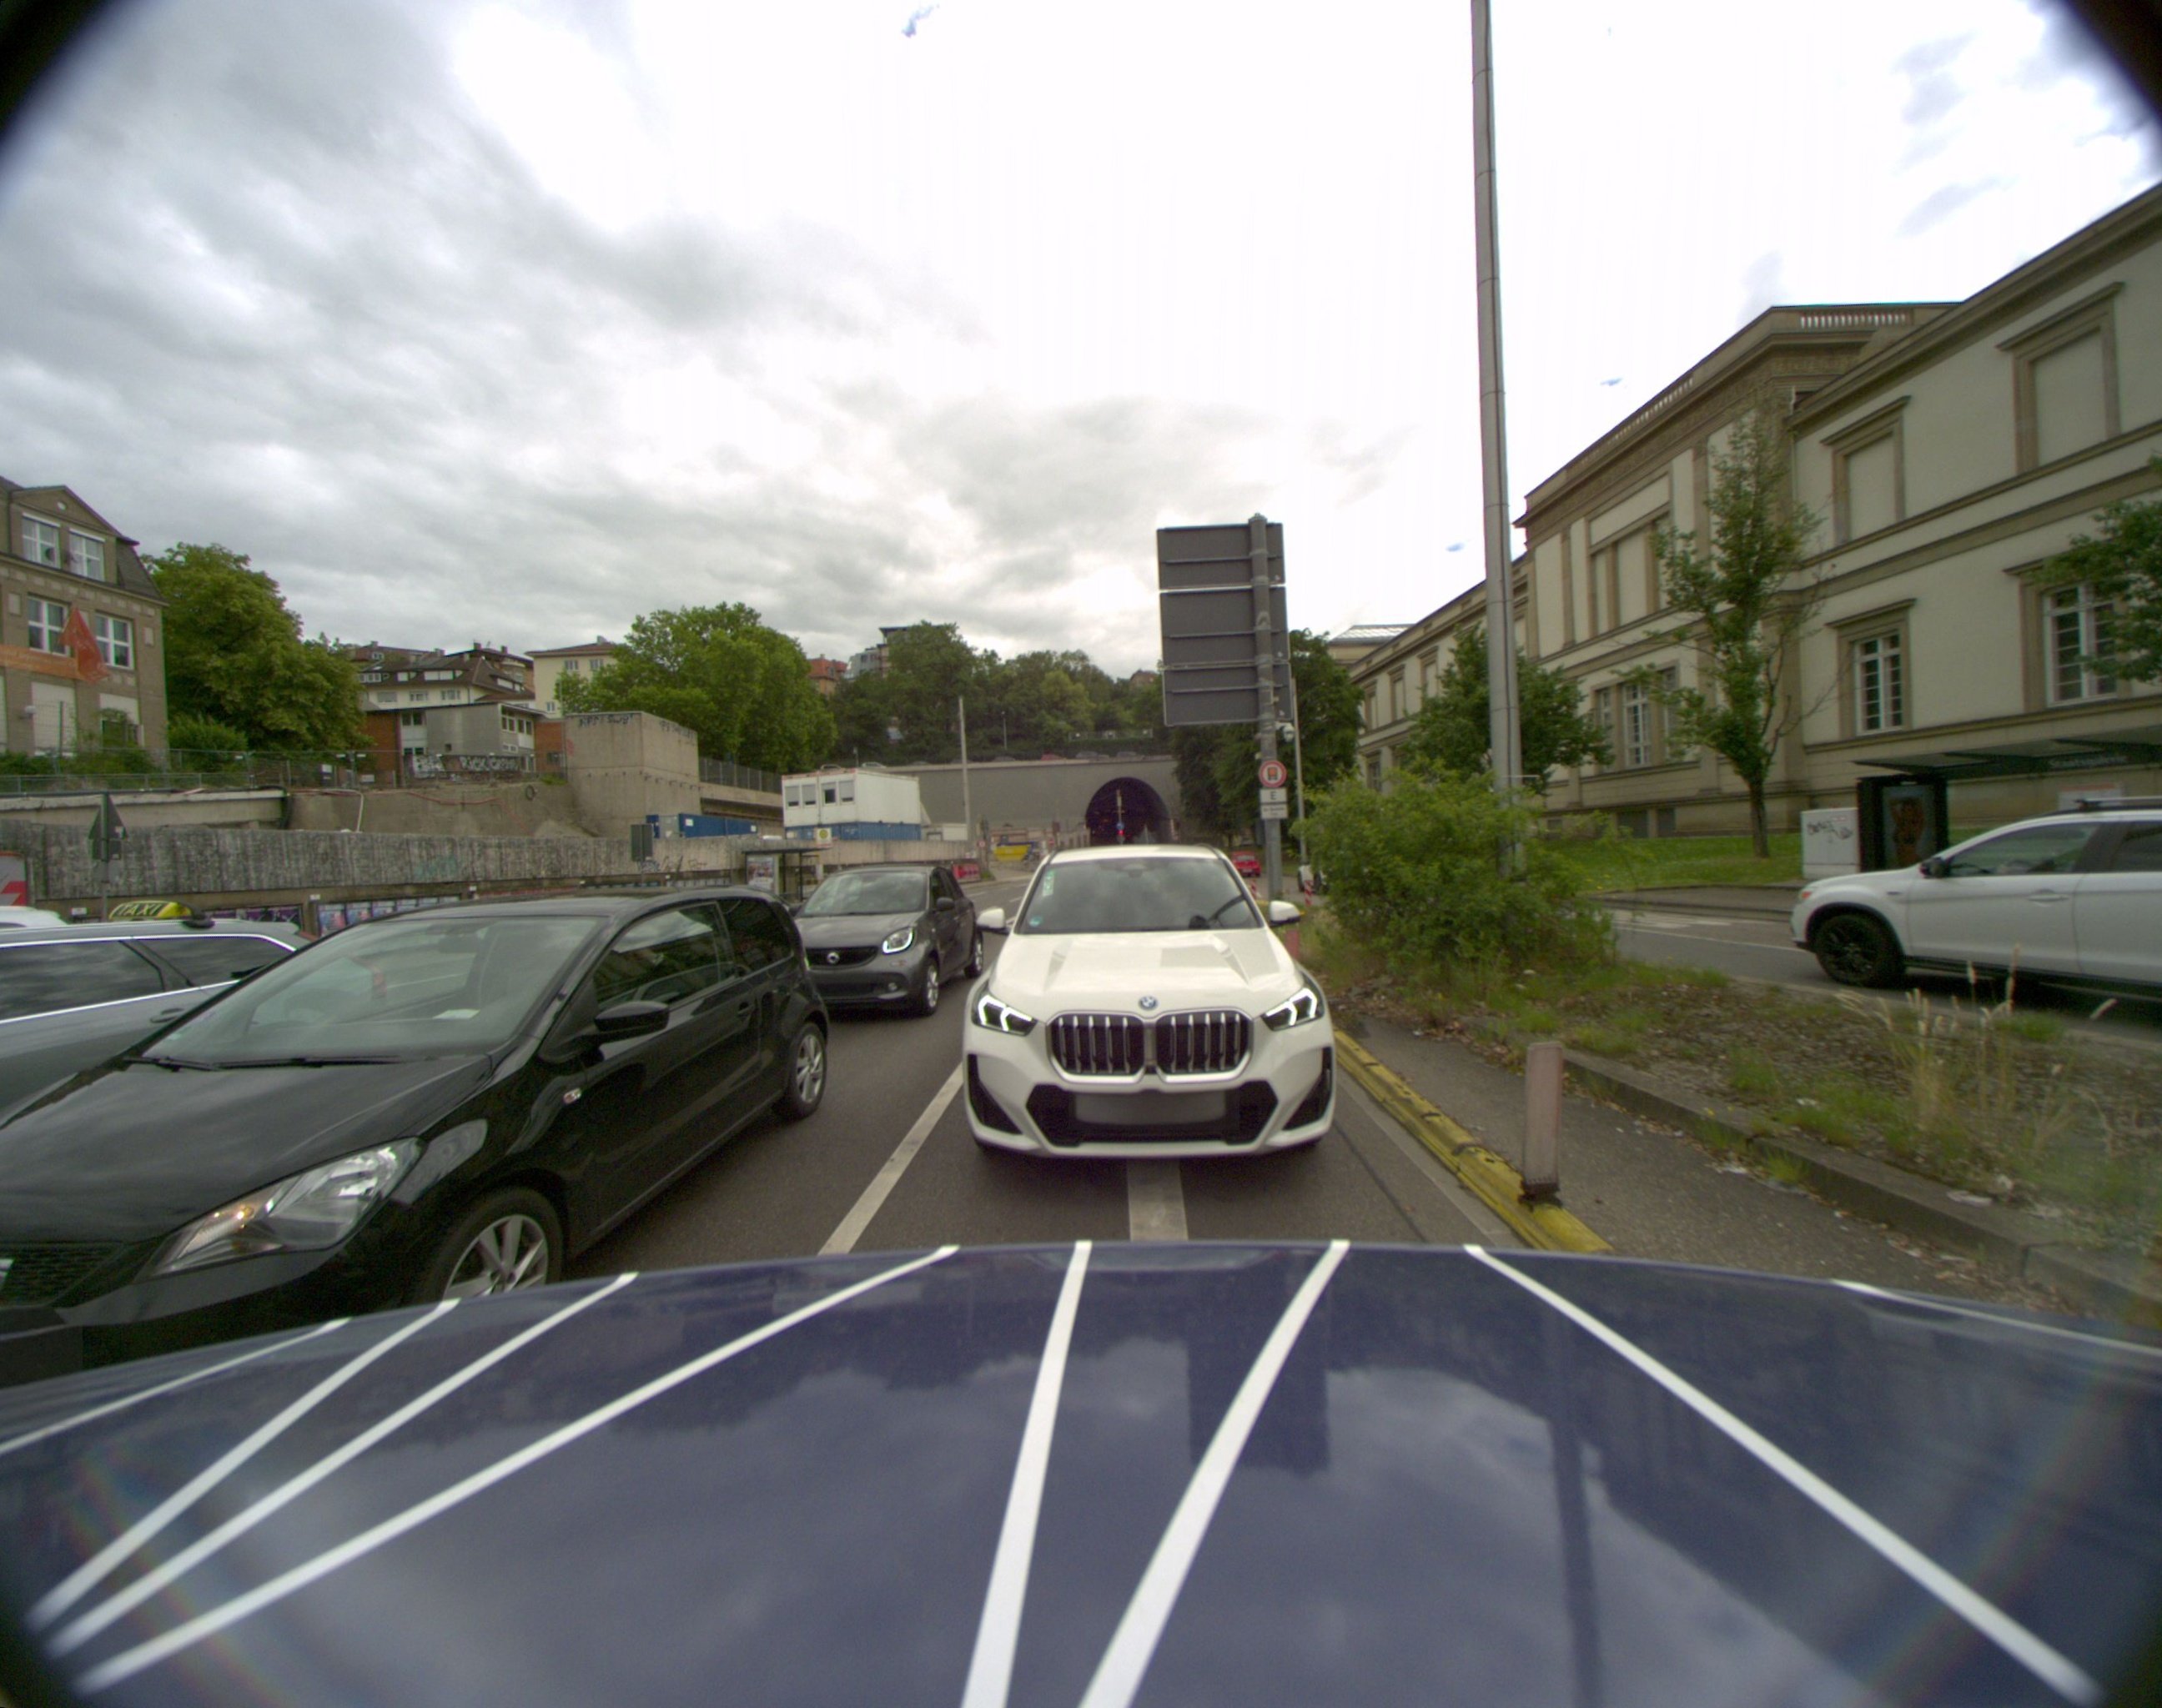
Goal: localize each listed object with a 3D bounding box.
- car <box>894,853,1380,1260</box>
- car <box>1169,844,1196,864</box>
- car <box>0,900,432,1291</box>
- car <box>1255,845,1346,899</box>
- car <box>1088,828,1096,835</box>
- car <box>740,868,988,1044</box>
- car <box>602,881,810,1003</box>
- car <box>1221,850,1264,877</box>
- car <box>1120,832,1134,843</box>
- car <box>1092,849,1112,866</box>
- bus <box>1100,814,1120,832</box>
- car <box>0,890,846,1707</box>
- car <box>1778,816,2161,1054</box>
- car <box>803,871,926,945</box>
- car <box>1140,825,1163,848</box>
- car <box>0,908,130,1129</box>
[{"bbox_3d":[0.262,0.856,5.031,1.987,1.615,3.670,-2,1,1],"label":"car"},{"bbox_3d":[8.775,-0.055,65.825,1.778,1.609,3.802,-2,1,-1],"label":"car"},{"bbox_3d":[-5.857,1.216,3.301,1.829,1.615,4.808,-2,1,1],"label":"car"},{"bbox_3d":[7.602,0.576,26.750,1.875,1.681,4.267,-2,1,0],"label":"car"},{"bbox_3d":[2.250,-4.542,153.520,1.680,1.358,3.806,-2,1,1],"label":"car"},{"bbox_3d":[-2.255,0.990,8.889,1.720,1.535,3.575,-2,0,2],"label":"car"},{"bbox_3d":[-5.397,1.205,11.315,1.665,1.423,2.714,-2,1,1],"label":"car"},{"bbox_3d":[9.502,0.516,45.008,1.646,1.469,3.574,-2,0,-2],"label":"car"},{"bbox_3d":[7.115,-2.516,117.303,1.946,1.714,4.001,-2,1,4],"label":"car"},{"bbox_3d":[1.933,0.314,69.816,1.680,1.450,3.807,-2,1,3],"label":"car"},{"bbox_3d":[5.630,-6.119,149.688,3.171,3.129,9.118,-2,1,-1],"label":"bus"},{"bbox_3d":[-2.572,1.026,3.340,1.829,1.450,3.700,-2,1,1],"label":"car"},{"bbox_3d":[8.243,0.523,5.814,1.904,1.615,4.106,-2,0,-3],"label":"car"},{"bbox_3d":[-4.919,1.177,17.810,1.680,1.358,3.806,-2,1,1],"label":"car"},{"bbox_3d":[8.033,-1.952,86.975,2.203,2.493,4.758,-2,1,2],"label":"car"},{"bbox_3d":[-9.108,1.329,4.442,1.680,1.615,4.209,-2,1,1],"label":"car"}]
